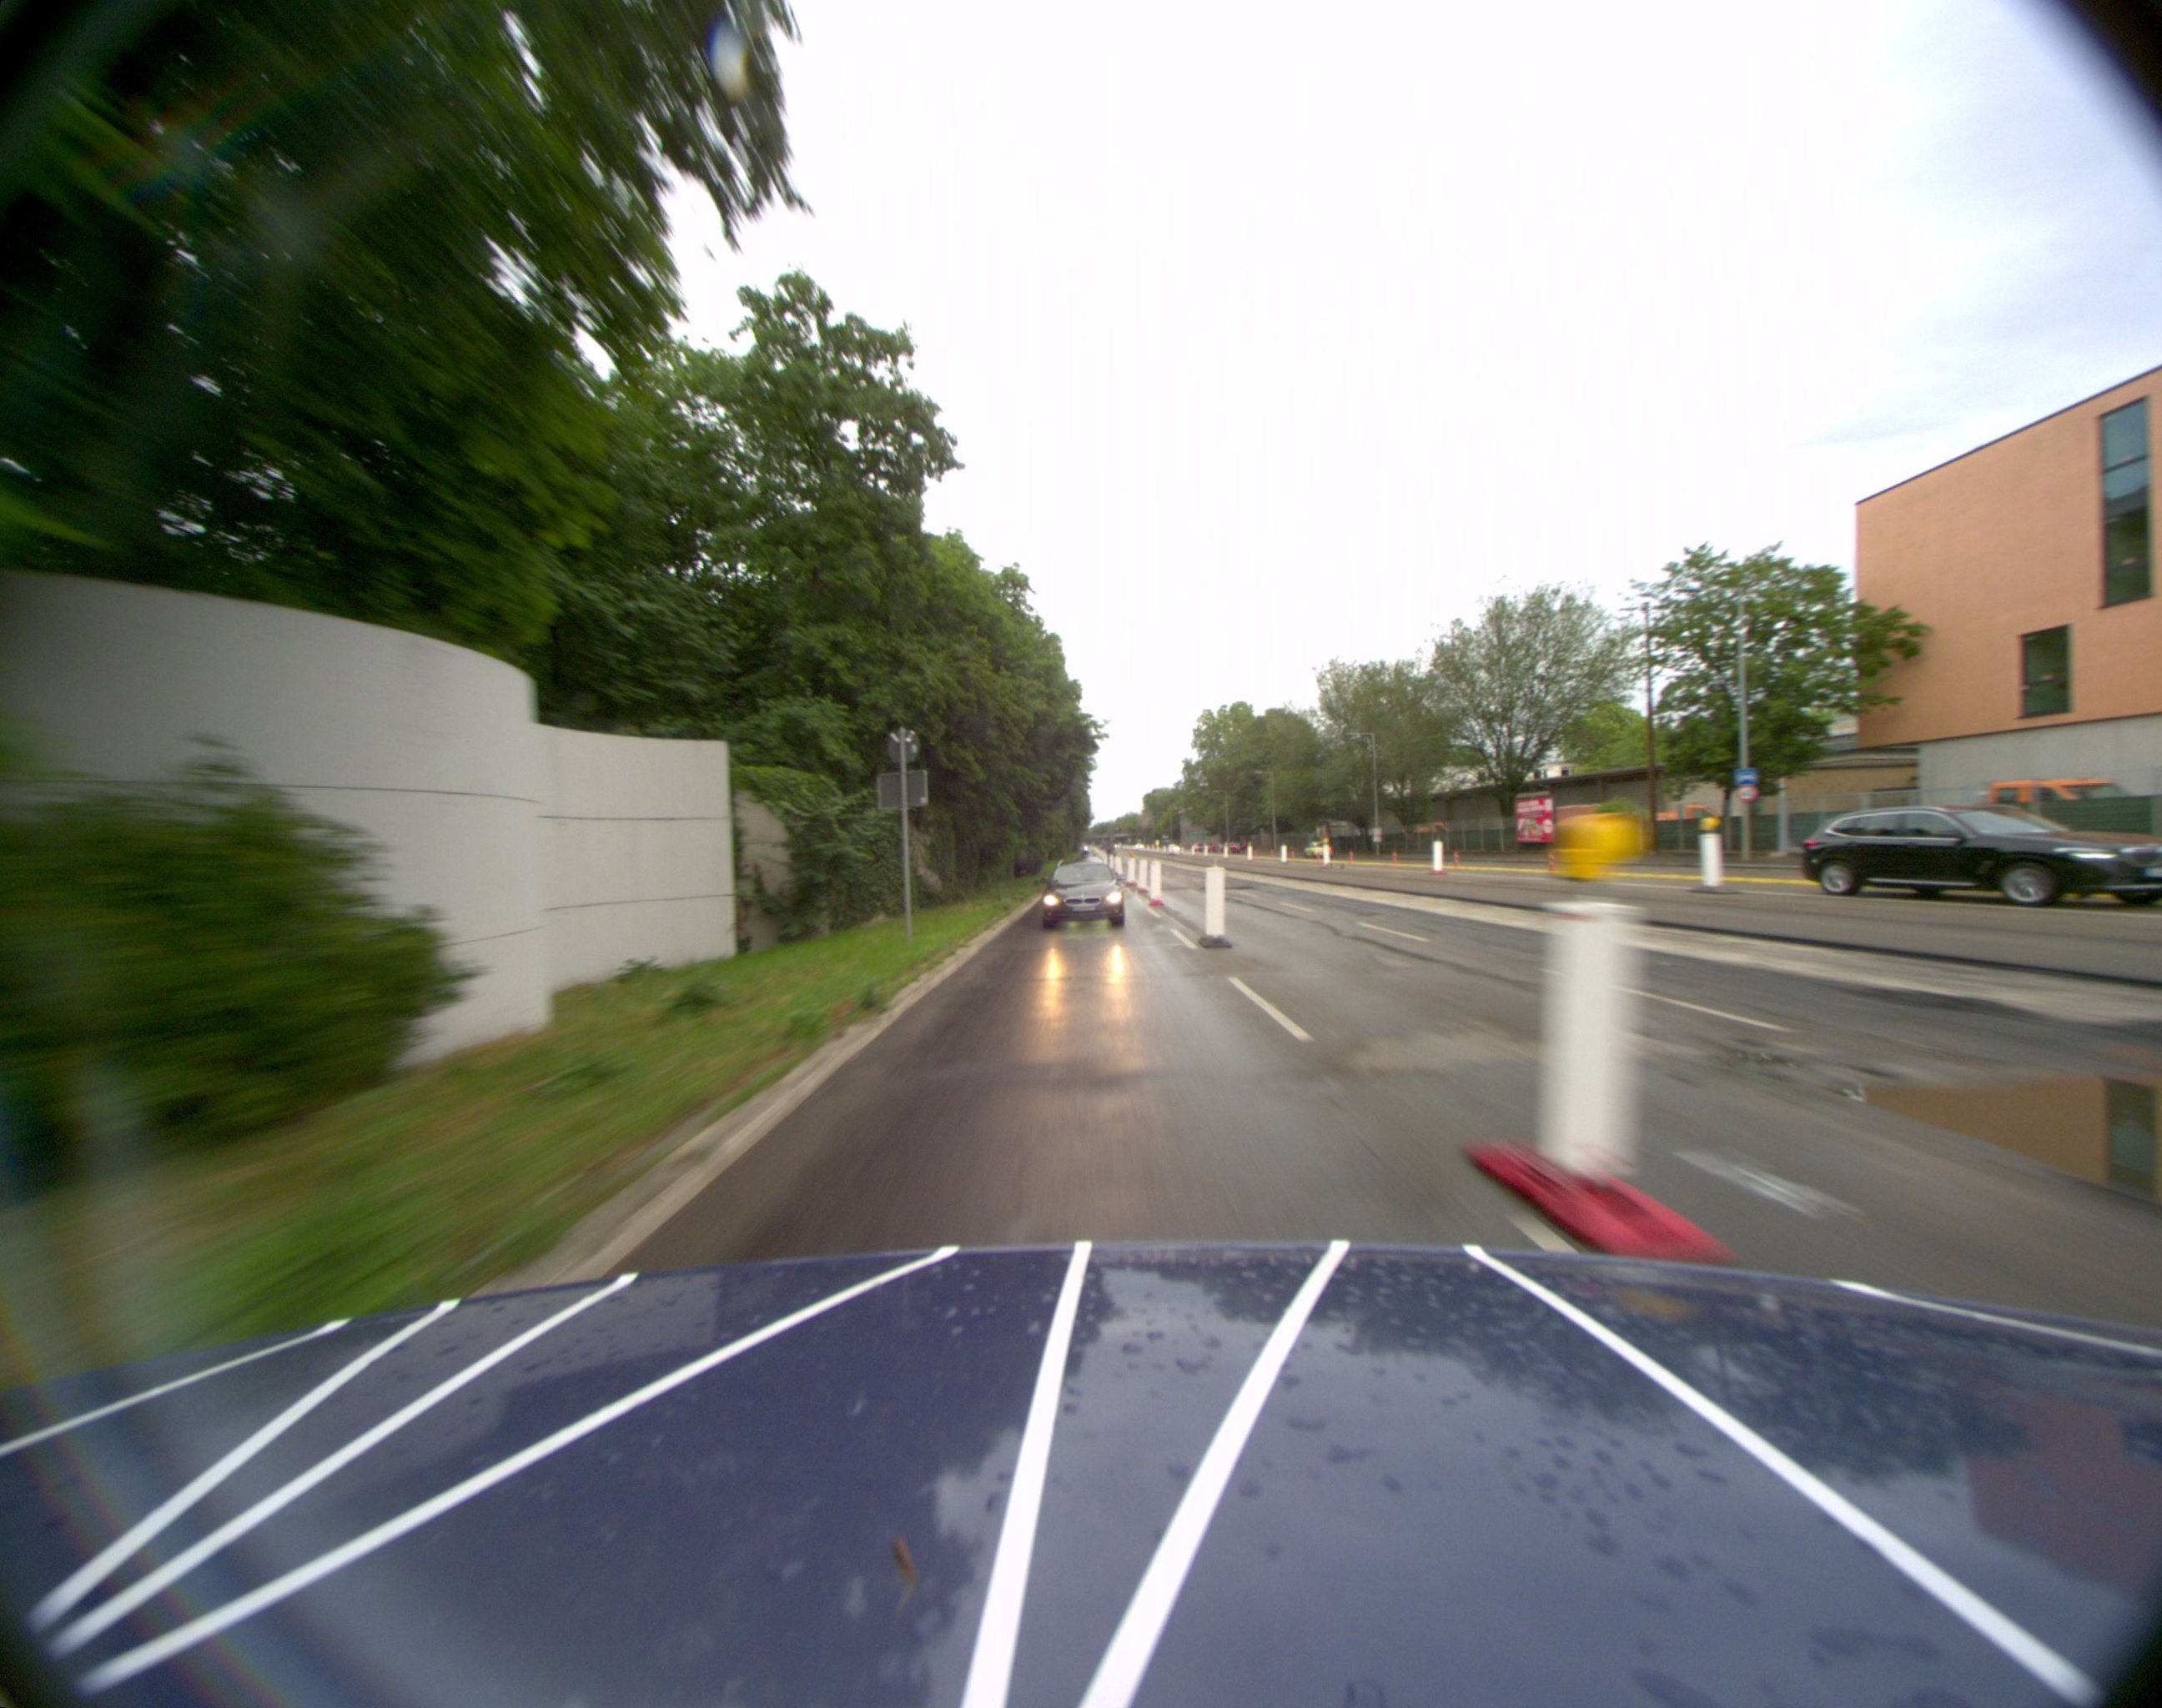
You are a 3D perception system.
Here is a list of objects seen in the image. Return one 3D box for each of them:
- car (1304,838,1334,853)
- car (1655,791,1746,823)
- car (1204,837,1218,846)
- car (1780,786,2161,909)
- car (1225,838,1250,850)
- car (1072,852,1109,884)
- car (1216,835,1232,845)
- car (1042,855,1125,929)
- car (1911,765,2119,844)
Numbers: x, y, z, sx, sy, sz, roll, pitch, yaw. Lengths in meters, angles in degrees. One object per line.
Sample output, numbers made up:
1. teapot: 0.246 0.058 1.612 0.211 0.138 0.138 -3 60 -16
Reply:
1. car: 21.543 -0.772 68.906 1.557 1.360 3.804 -1 1 0
2. car: 35.846 -2.713 44.058 4.012 1.519 2.004 -3 1 39
3. car: 22.924 -2.243 134.312 1.863 1.610 4.364 -1 1 1
4. car: 15.334 -0.106 13.079 1.999 1.696 4.983 -1 0 0
5. car: 22.488 -1.470 109.158 1.866 1.620 4.323 -1 1 -13
6. car: 0.527 0.677 40.339 1.742 1.454 4.457 -3 1 1
7. car: 22.741 -2.231 120.877 1.863 1.467 3.731 -1 1 1
8. car: 0.097 0.845 18.897 1.742 1.454 4.457 -3 1 1
9. car: 29.205 -1.461 23.974 1.614 2.158 3.999 -3 1 0
